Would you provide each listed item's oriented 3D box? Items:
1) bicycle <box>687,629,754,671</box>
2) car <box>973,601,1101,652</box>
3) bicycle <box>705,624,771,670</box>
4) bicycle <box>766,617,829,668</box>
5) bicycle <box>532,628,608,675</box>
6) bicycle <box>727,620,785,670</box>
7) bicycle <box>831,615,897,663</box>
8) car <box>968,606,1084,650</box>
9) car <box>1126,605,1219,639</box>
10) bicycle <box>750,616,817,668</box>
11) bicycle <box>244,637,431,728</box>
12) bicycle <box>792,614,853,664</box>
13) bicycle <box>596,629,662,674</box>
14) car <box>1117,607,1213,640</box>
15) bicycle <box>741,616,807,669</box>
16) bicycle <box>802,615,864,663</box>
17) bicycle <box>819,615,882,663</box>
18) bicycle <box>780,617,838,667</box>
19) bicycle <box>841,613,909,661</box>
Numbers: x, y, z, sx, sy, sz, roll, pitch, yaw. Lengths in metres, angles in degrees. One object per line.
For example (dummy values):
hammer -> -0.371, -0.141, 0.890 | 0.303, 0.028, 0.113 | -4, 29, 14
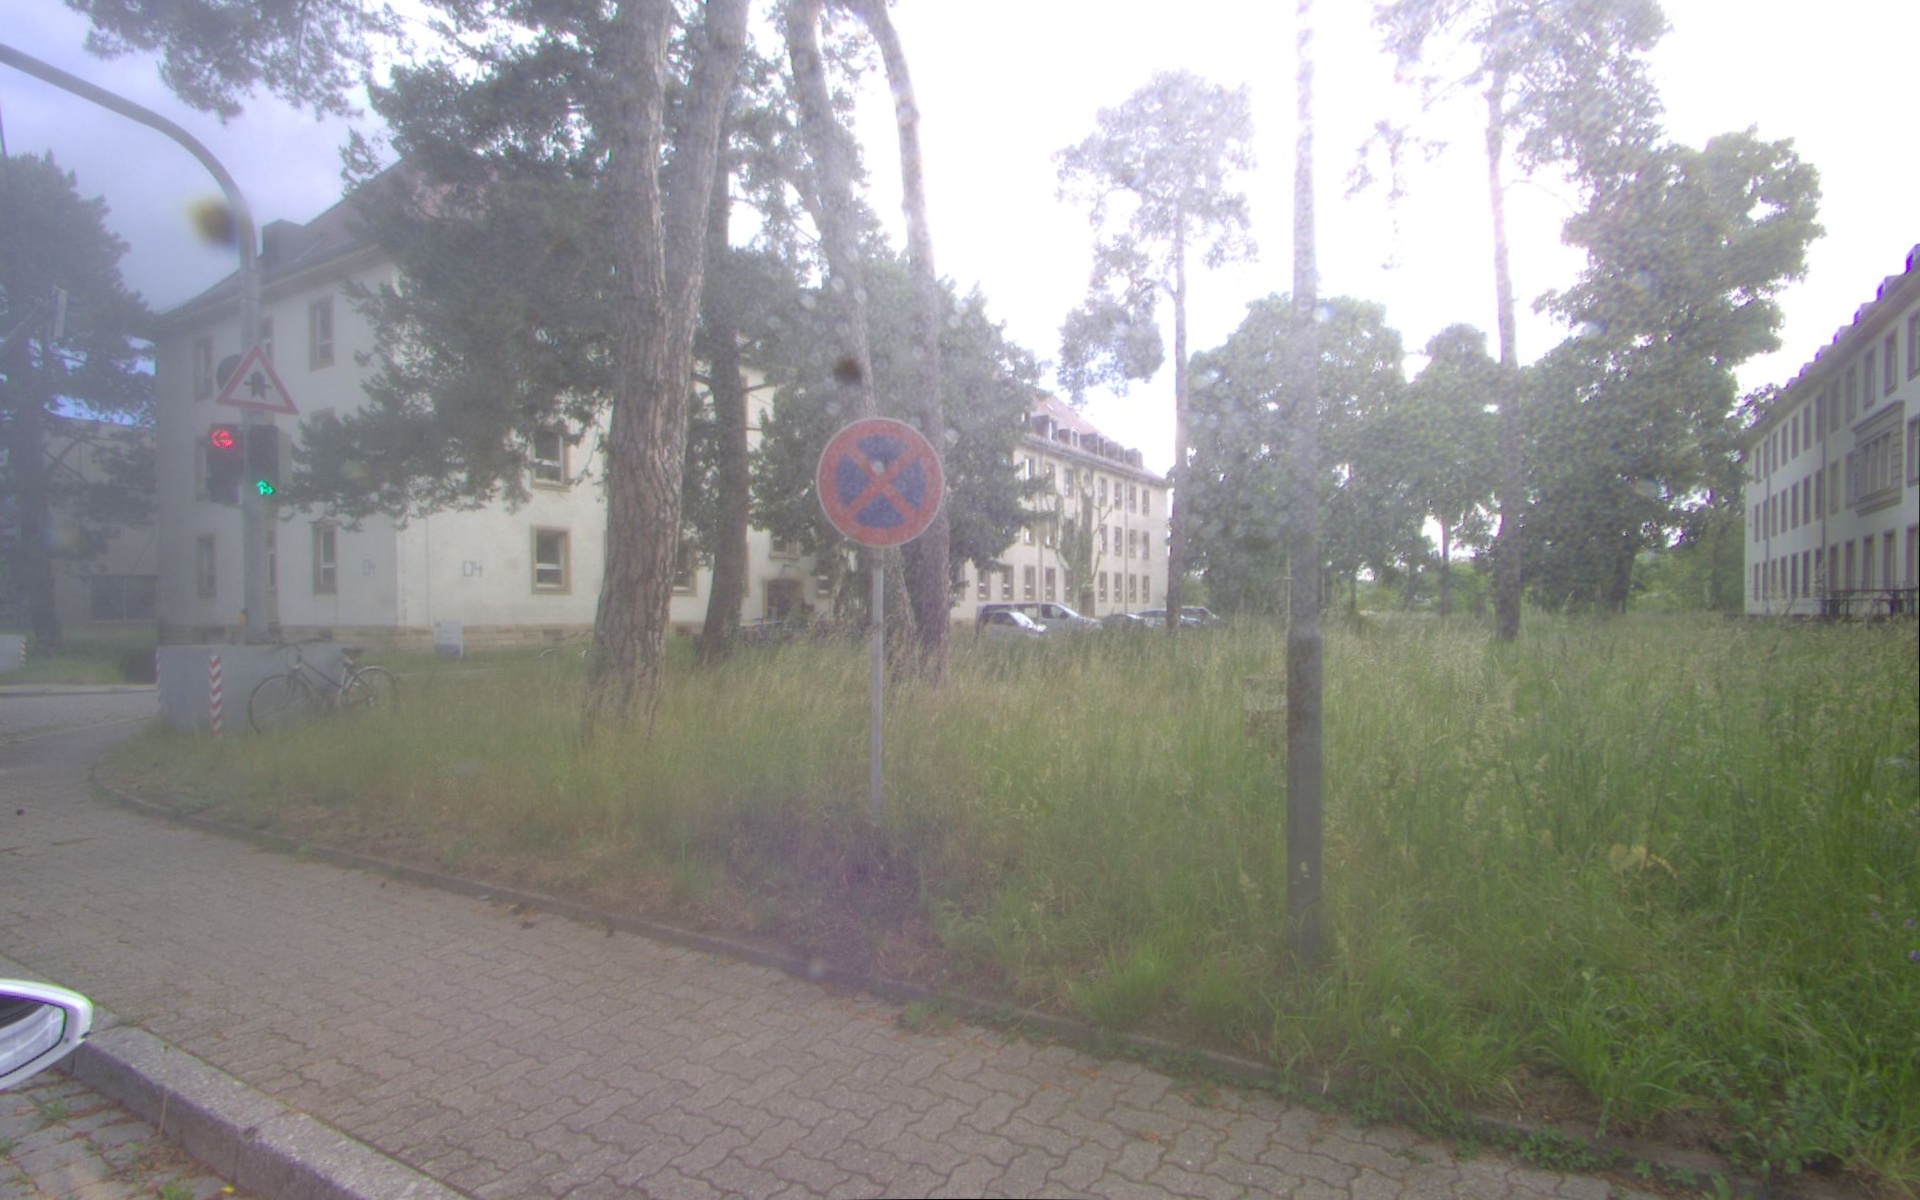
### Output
bicycle -> -5.881, 1.210, 24.564 | 1.877, 0.961, 0.539 | 0, 0, 37
car -> 3.125, 1.044, 40.181 | 4.774, 1.935, 2.237 | 0, 0, 17
bicycle -> -5.584, 1.158, 25.148 | 1.877, 1.116, 0.539 | 0, 0, 37
bicycle -> -4.404, 1.119, 27.050 | 1.895, 1.337, 0.504 | 0, 0, 37
bicycle -> -8.718, 1.145, 22.447 | 0.522, 0.993, 1.618 | 0, 0, 30
bicycle -> -5.223, 1.130, 25.603 | 1.618, 1.231, 0.539 | 0, 0, 37
bicycle -> -2.818, 1.117, 29.264 | 2.104, 1.337, 0.553 | 0, 0, 37
car -> 2.404, 0.990, 36.651 | 3.877, 1.550, 1.852 | 0, 0, 34
car -> 11.657, 1.192, 54.929 | 4.629, 1.796, 1.989 | -1, -1, 33
bicycle -> -4.693, 1.101, 26.536 | 1.950, 1.337, 0.574 | 0, 0, 37
bicycle -> -6.853, 0.875, 11.109 | 0.564, 0.885, 1.697 | 0, 0, 32
bicycle -> -3.845, 1.068, 27.855 | 1.829, 1.337, 0.553 | 0, 0, 37
bicycle -> -7.916, 1.208, 24.017 | 0.535, 1.027, 1.534 | 0, 0, 31
car -> 10.602, 1.216, 51.827 | 4.452, 1.639, 1.990 | -1, -1, 33
bicycle -> -4.827, 1.082, 25.950 | 2.021, 1.337, 0.436 | 0, 0, 37
bicycle -> -3.614, 1.084, 28.429 | 1.913, 1.337, 0.551 | 0, 0, 37
bicycle -> -3.169, 1.102, 28.815 | 1.989, 1.337, 0.538 | 0, 0, 37
bicycle -> -4.146, 1.131, 27.419 | 1.893, 1.337, 0.390 | 0, 0, 37
bicycle -> -2.548, 1.094, 29.933 | 2.075, 1.385, 0.755 | 0, 0, 37
